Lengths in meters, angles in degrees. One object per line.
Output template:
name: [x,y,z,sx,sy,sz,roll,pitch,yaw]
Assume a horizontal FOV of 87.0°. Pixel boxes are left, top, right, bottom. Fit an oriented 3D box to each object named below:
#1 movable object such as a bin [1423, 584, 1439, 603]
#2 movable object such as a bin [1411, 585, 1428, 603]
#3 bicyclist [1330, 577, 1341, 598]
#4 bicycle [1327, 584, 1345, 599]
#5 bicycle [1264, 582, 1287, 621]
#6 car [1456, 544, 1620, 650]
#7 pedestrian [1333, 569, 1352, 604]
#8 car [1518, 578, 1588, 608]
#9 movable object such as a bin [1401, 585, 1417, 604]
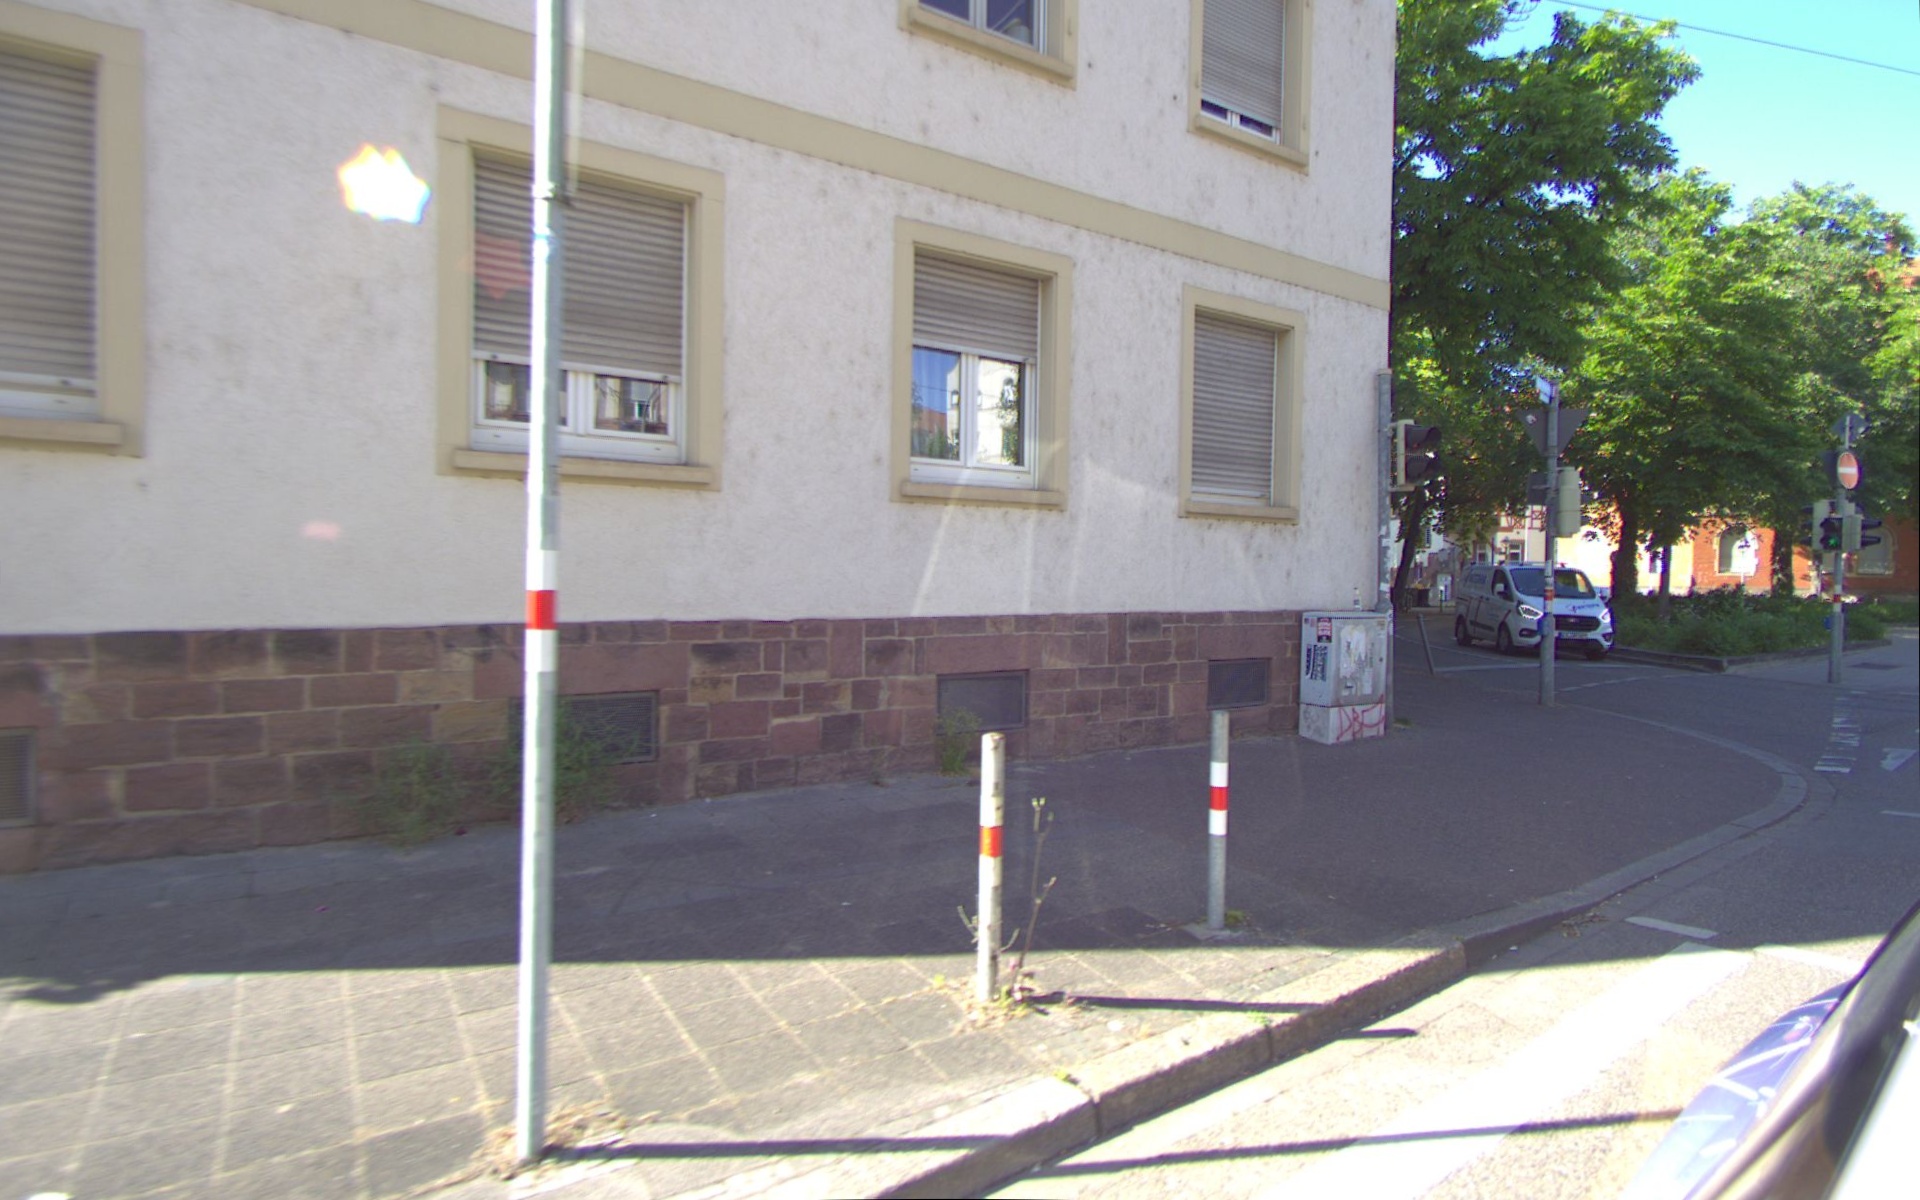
movable object such as a bin: [25.442,-0.346,54.697,0.532,0.977,0.644,-1,-1,-5]
movable object such as a bin: [24.823,-0.312,54.626,0.570,0.977,0.644,-1,-1,-5]
bicyclist: [17.090,-0.562,46.099,0.338,0.956,0.387,-1,-1,45]
bicycle: [17.018,-0.395,45.836,0.431,0.644,0.902,-1,-1,44]
bicycle: [9.960,0.037,31.922,0.471,1.167,1.978,4,1,22]
car: [12.729,-0.054,22.642,1.660,2.118,4.742,-1,0,11]
pedestrian: [18.151,-0.656,48.073,0.617,1.655,0.572,0,-1,-33]
car: [35.386,-0.403,60.491,1.602,1.739,3.808,-1,0,-7]
movable object such as a bin: [24.207,-0.287,54.545,0.532,0.977,0.644,-1,-1,-5]
